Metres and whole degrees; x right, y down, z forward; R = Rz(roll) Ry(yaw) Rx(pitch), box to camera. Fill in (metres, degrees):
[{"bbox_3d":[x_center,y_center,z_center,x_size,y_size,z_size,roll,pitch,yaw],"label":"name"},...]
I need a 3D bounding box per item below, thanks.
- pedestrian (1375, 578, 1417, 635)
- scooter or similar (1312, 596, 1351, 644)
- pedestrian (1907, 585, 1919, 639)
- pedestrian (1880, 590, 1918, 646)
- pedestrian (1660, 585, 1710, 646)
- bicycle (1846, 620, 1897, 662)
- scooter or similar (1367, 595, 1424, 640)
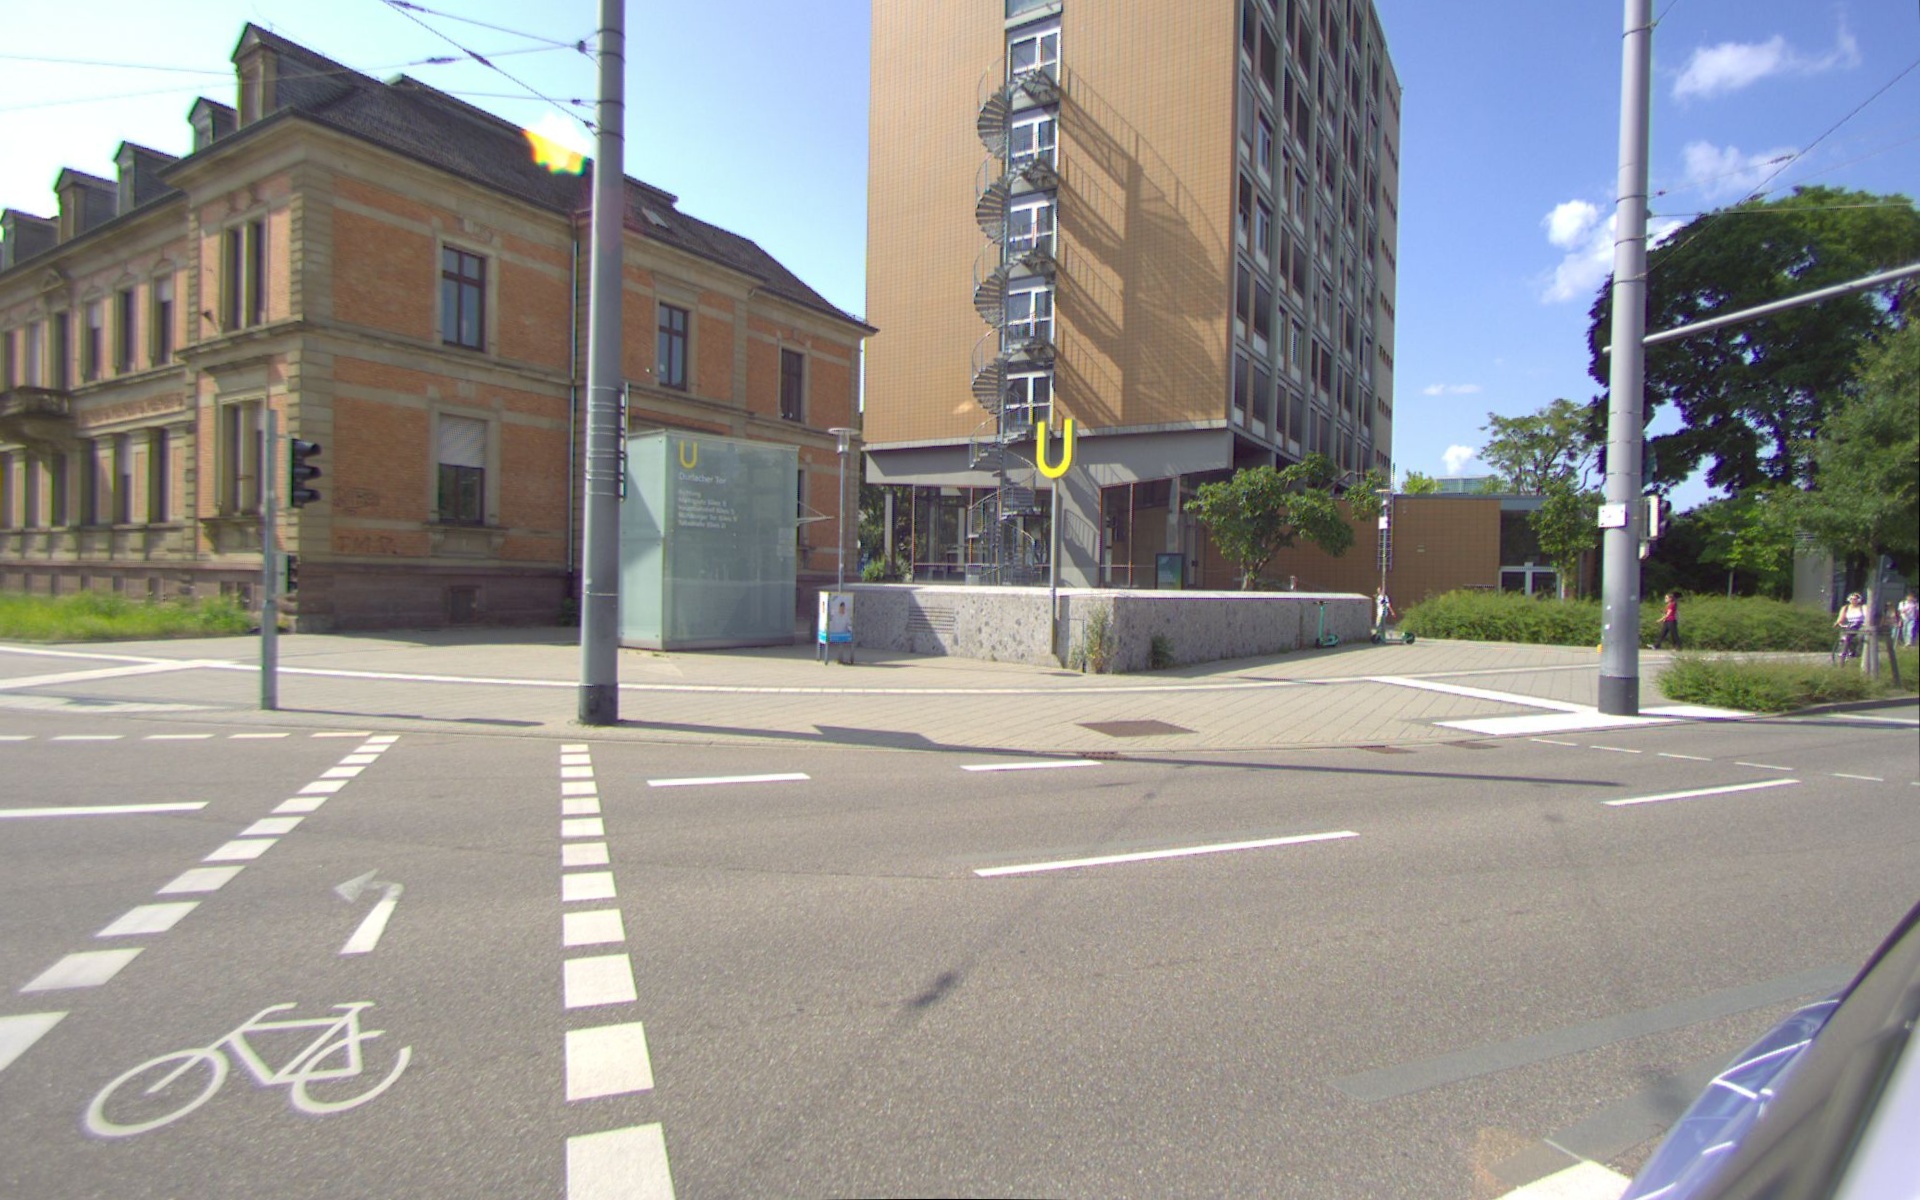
[{"bbox_3d":[13.247,0.194,30.794,1.085,1.642,0.611,3,3,24],"label":"pedestrian"},{"bbox_3d":[9.159,0.473,24.948,0.463,1.132,1.427,3,2,37],"label":"scooter or similar"},{"bbox_3d":[31.203,0.382,32.726,0.873,1.720,0.616,0,4,-38],"label":"pedestrian"},{"bbox_3d":[28.411,0.530,30.619,0.873,1.642,0.616,0,4,-38],"label":"pedestrian"},{"bbox_3d":[20.399,0.414,28.486,0.876,1.642,0.614,2,3,12],"label":"pedestrian"},{"bbox_3d":[21.073,0.933,23.399,1.790,0.892,0.648,0,-1,-41],"label":"bicycle"},{"bbox_3d":[11.620,0.469,27.020,1.298,1.117,0.464,2,1,12],"label":"scooter or similar"}]
